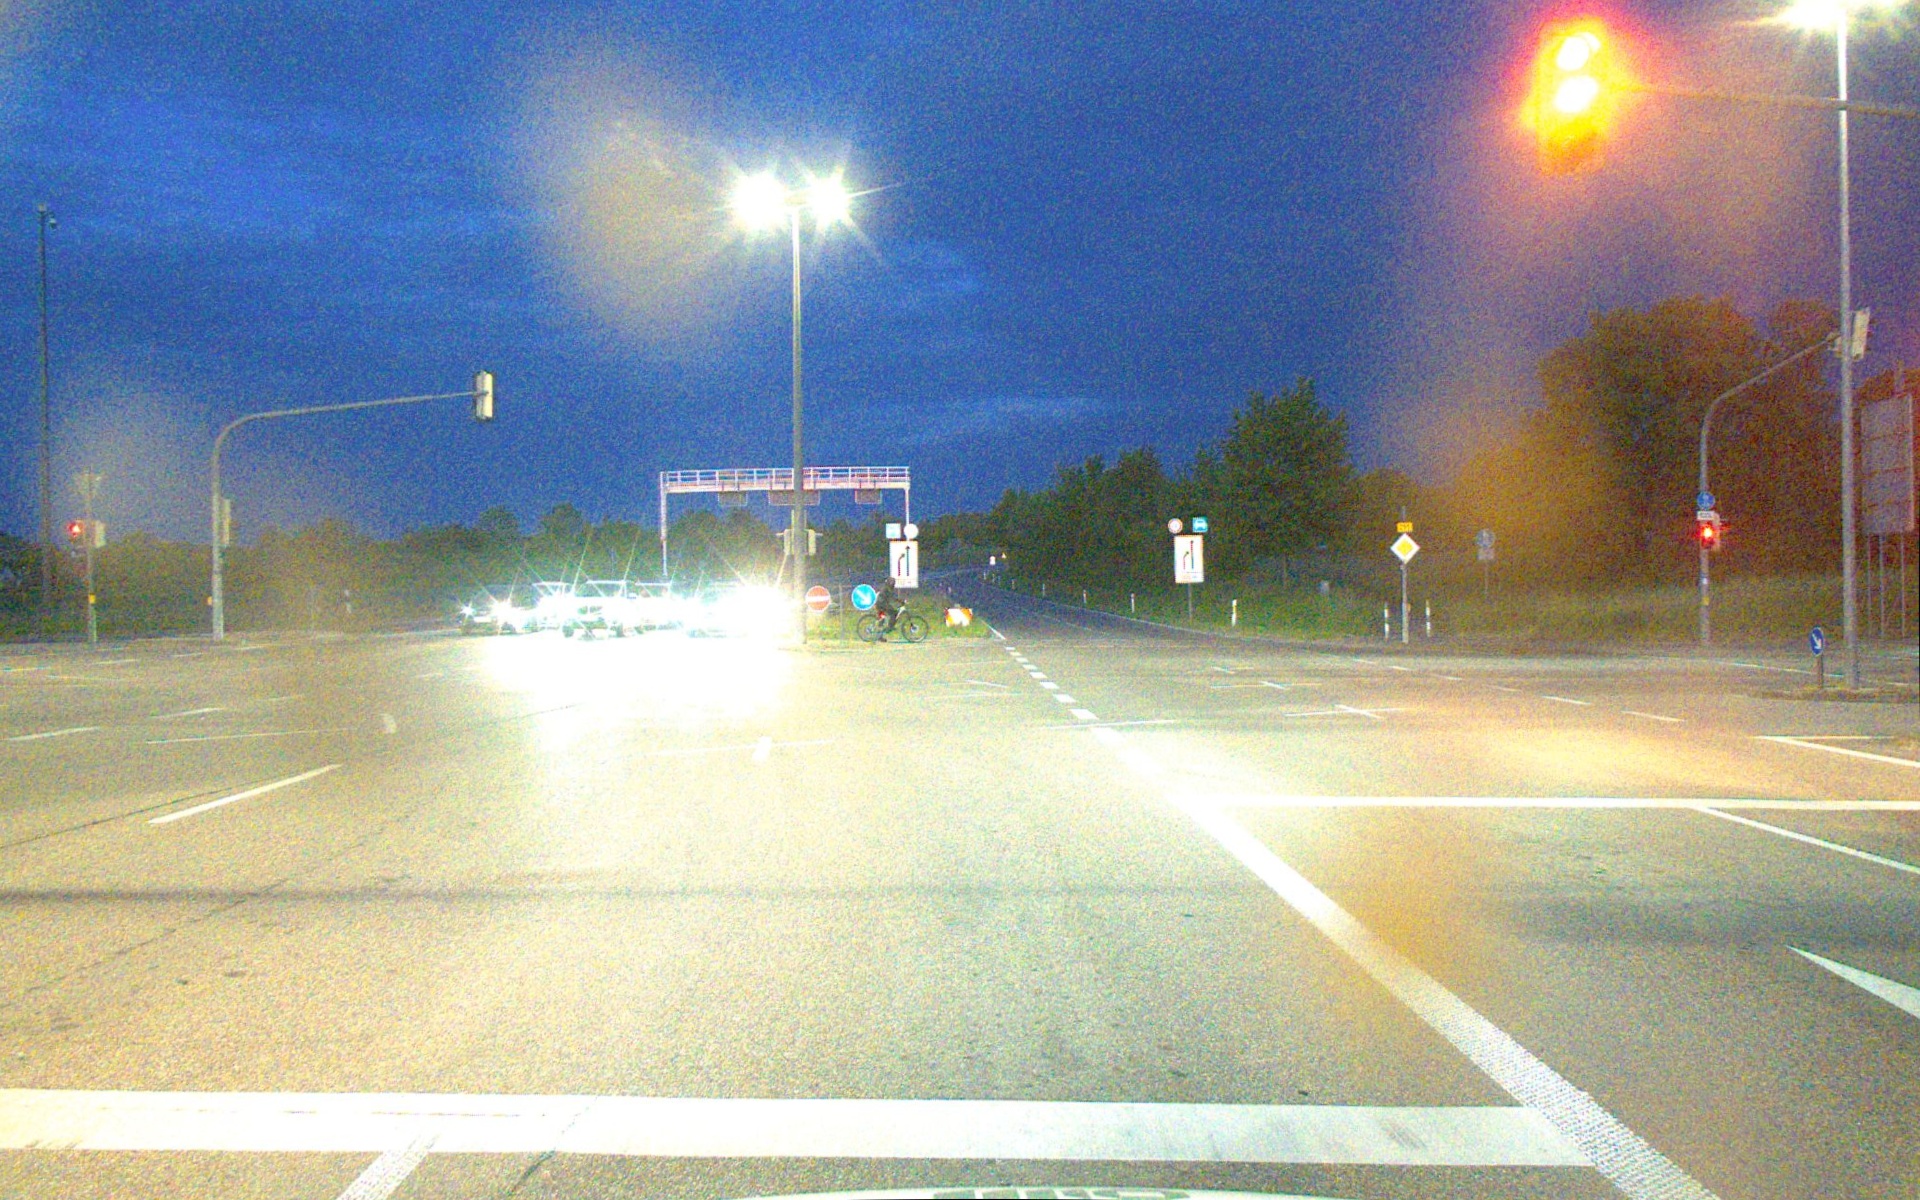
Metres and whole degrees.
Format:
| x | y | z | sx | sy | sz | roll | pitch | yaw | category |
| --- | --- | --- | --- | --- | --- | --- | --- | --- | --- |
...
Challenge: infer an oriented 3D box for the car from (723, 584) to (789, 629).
| x | y | z | sx | sy | sz | roll | pitch | yaw | category |
| --- | --- | --- | --- | --- | --- | --- | --- | --- | --- |
| -7.194 | 0.200 | 58.637 | 1.736 | 1.507 | 3.911 | 1 | 1 | 1 | car |

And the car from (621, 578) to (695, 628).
| x | y | z | sx | sy | sz | roll | pitch | yaw | category |
| --- | --- | --- | --- | --- | --- | --- | --- | --- | --- |
| -10.512 | 0.063 | 57.829 | 1.709 | 1.655 | 4.363 | 0 | 1 | 1 | car |

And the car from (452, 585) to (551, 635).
| x | y | z | sx | sy | sz | roll | pitch | yaw | category |
| --- | --- | --- | --- | --- | --- | --- | --- | --- | --- |
| -14.207 | 0.277 | 51.455 | 1.743 | 1.471 | 4.292 | 1 | 1 | 2 | car |

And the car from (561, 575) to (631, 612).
| x | y | z | sx | sy | sz | roll | pitch | yaw | category |
| --- | --- | --- | --- | --- | --- | --- | --- | --- | --- |
| -14.325 | -0.283 | 65.301 | 1.794 | 1.414 | 4.397 | -1 | 1 | 0 | car |

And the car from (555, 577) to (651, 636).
| x | y | z | sx | sy | sz | roll | pitch | yaw | category |
| --- | --- | --- | --- | --- | --- | --- | --- | --- | --- |
| -10.811 | 0.152 | 50.387 | 1.869 | 1.711 | 4.421 | 1 | 1 | 1 | car |

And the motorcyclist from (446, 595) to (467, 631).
| x | y | z | sx | sy | sz | roll | pitch | yaw | category |
| --- | --- | --- | --- | --- | --- | --- | --- | --- | --- |
| -27.635 | 0.718 | 90.723 | 0.901 | 1.840 | 0.864 | -4 | -3 | -22 | motorcyclist |

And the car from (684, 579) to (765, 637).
| x | y | z | sx | sy | sz | roll | pitch | yaw | category |
| --- | --- | --- | --- | --- | --- | --- | --- | --- | --- |
| -7.150 | 0.202 | 50.589 | 1.814 | 1.661 | 4.586 | 0 | 1 | 0 | car |

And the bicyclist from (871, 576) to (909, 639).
| x | y | z | sx | sy | sz | roll | pitch | yaw | category |
| --- | --- | --- | --- | --- | --- | --- | --- | --- | --- |
| -1.892 | 0.190 | 44.528 | 0.977 | 1.680 | 0.603 | 0 | 0 | -6 | bicyclist |

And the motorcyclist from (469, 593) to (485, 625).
| x | y | z | sx | sy | sz | roll | pitch | yaw | category |
| --- | --- | --- | --- | --- | --- | --- | --- | --- | --- |
| -27.906 | 0.540 | 95.641 | 0.669 | 1.790 | 0.789 | -4 | -2 | -7 | motorcyclist |

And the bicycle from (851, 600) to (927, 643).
| x | y | z | sx | sy | sz | roll | pitch | yaw | category |
| --- | --- | --- | --- | --- | --- | --- | --- | --- | --- |
| -1.908 | 0.575 | 44.512 | 2.021 | 1.120 | 0.694 | 0 | 0 | -6 | bicycle |

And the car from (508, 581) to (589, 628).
| x | y | z | sx | sy | sz | roll | pitch | yaw | category |
| --- | --- | --- | --- | --- | --- | --- | --- | --- | --- |
| -14.339 | 0.122 | 57.793 | 1.794 | 1.551 | 4.000 | -1 | 1 | 0 | car |
